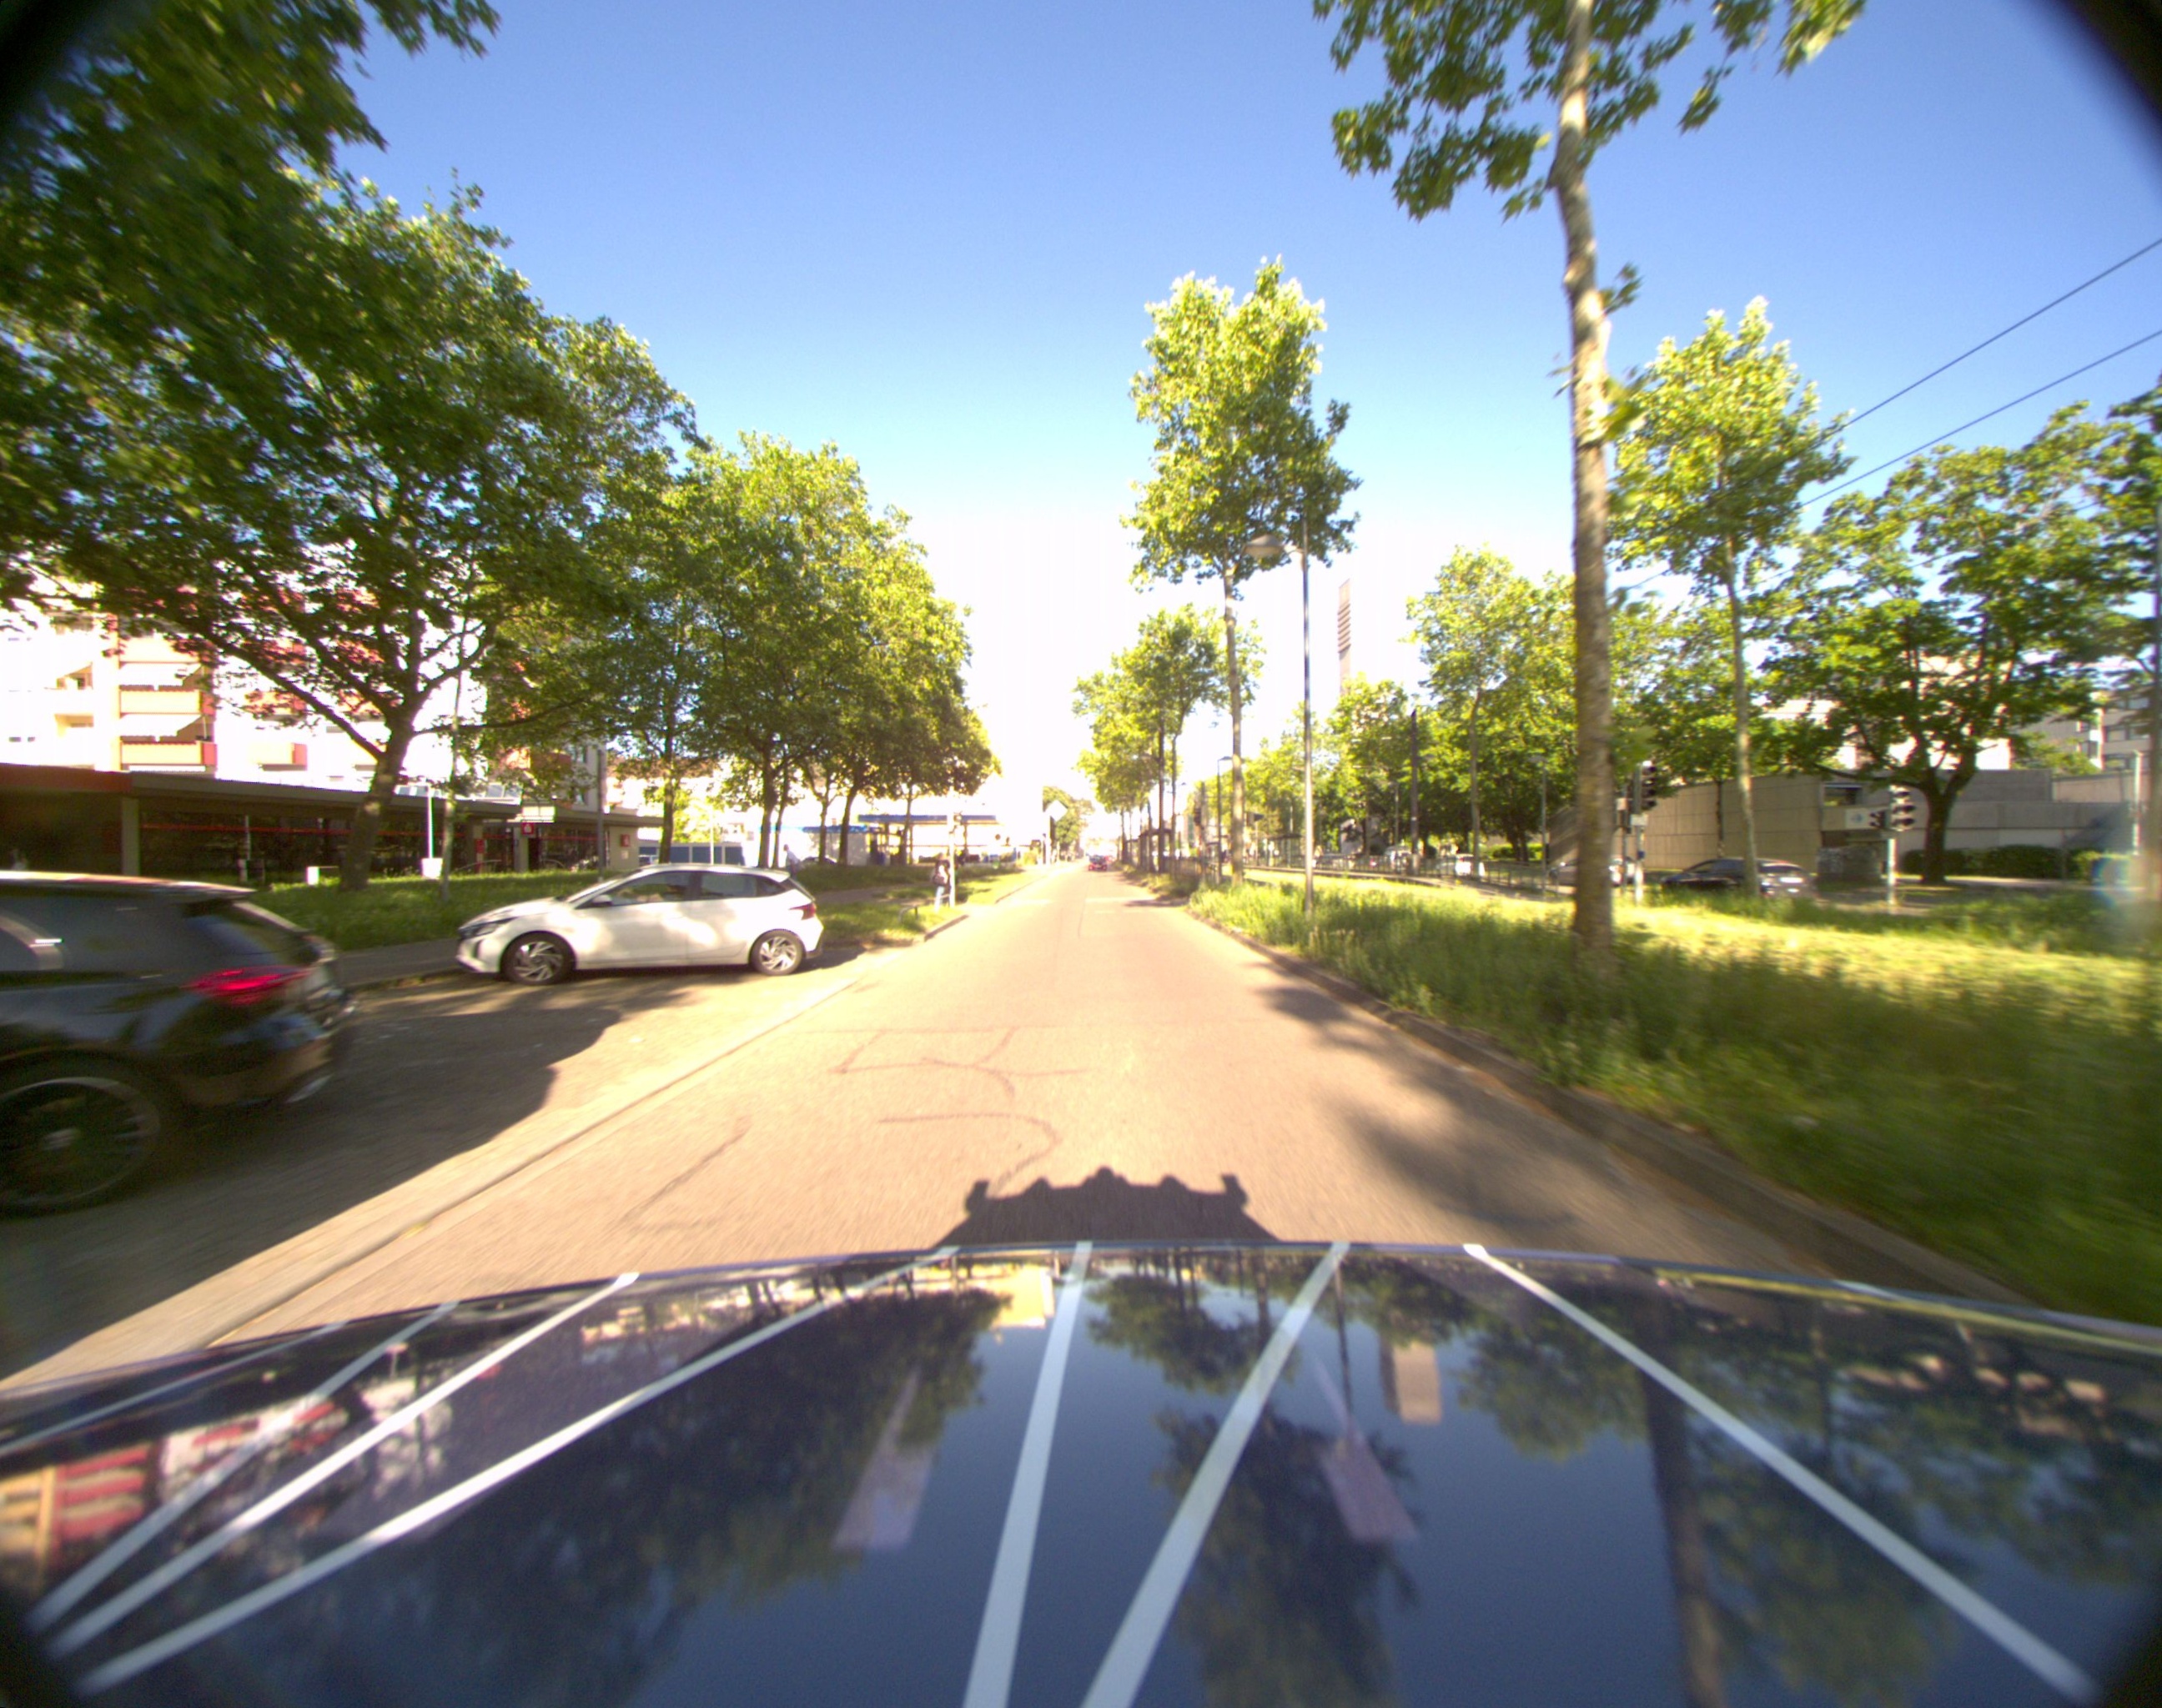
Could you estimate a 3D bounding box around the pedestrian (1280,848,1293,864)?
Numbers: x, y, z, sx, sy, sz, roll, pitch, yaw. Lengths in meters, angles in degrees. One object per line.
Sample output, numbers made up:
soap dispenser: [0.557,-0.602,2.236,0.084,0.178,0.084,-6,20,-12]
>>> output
pedestrian: [16.142,0.159,59.668,0.838,1.253,0.801,-1,1,30]

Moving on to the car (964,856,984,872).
car: [-10.819,0.994,76.866,1.725,1.455,4.003,0,0,-5]

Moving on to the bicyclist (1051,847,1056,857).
bicyclist: [-4.039,-0.243,112.658,0.678,1.466,0.936,0,1,0]

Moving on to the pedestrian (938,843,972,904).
pedestrian: [-3.891,0.593,23.538,0.799,1.874,0.928,0,1,5]

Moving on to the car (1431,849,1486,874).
car: [23.977,0.464,48.401,1.717,1.537,3.934,0,0,4]

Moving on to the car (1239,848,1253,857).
car: [23.766,-0.246,109.663,1.266,1.234,3.376,0,0,0]

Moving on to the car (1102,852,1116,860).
car: [5.607,0.385,151.438,1.545,1.522,3.596,-3,1,-19]

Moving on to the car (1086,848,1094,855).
car: [2.475,-0.633,208.093,1.998,1.806,4.000,-1,1,1]

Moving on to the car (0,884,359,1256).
car: [-5.859,0.873,3.092,4.007,1.421,1.794,2,0,-36]

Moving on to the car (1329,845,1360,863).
car: [24.470,0.033,70.699,1.598,1.626,3.930,0,0,1]

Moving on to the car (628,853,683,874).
car: [-32.317,0.709,57.827,1.874,1.495,4.113,-1,1,0]

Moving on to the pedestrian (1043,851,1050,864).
pedestrian: [-5.312,0.542,116.253,0.790,1.817,1.032,1,2,-16]

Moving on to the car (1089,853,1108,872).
car: [1.543,0.706,66.237,1.619,1.537,4.277,-1,1,2]

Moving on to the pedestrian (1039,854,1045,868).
pedestrian: [-4.998,0.905,97.187,0.605,1.692,0.552,-1,1,5]

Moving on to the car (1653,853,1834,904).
car: [19.913,0.688,23.118,1.998,1.381,4.168,0,0,3]

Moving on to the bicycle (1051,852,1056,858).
bicycle: [-4.033,0.104,112.686,0.684,0.925,1.736,0,0,0]

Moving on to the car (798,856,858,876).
car: [-20.565,0.929,61.784,4.201,1.522,1.983,-1,1,0]

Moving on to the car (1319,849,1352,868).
car: [21.691,0.384,64.838,1.718,1.537,3.934,0,0,3]

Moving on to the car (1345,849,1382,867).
car: [23.819,0.304,64.180,1.598,1.480,4.020,0,0,1]

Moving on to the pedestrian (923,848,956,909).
pedestrian: [-4.030,0.693,21.669,0.714,1.696,0.652,0,2,-33]

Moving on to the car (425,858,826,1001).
car: [-5.514,0.849,9.676,4.005,1.461,1.756,2,0,-30]

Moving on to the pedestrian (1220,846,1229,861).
pedestrian: [16.291,-0.097,86.142,0.885,1.680,0.754,-1,1,2]

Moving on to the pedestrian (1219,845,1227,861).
pedestrian: [16.251,-0.103,86.974,0.722,1.856,0.637,-1,1,2]

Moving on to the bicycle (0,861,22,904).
bicycle: [-30.205,0.814,20.449,0.597,1.172,1.853,-1,1,23]

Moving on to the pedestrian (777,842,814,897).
pedestrian: [-9.006,0.474,23.997,0.844,1.712,0.830,0,1,-2]

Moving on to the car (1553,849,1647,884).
car: [24.331,0.543,35.819,1.718,1.537,4.201,0,0,3]

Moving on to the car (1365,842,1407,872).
car: [23.743,0.210,59.353,1.718,2.249,3.933,0,0,1]

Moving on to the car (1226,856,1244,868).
car: [19.557,0.965,96.537,1.609,1.419,3.536,0,0,-1]

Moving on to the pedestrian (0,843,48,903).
pedestrian: [-28.707,0.513,20.492,0.673,1.575,0.715,0,0,-4]
